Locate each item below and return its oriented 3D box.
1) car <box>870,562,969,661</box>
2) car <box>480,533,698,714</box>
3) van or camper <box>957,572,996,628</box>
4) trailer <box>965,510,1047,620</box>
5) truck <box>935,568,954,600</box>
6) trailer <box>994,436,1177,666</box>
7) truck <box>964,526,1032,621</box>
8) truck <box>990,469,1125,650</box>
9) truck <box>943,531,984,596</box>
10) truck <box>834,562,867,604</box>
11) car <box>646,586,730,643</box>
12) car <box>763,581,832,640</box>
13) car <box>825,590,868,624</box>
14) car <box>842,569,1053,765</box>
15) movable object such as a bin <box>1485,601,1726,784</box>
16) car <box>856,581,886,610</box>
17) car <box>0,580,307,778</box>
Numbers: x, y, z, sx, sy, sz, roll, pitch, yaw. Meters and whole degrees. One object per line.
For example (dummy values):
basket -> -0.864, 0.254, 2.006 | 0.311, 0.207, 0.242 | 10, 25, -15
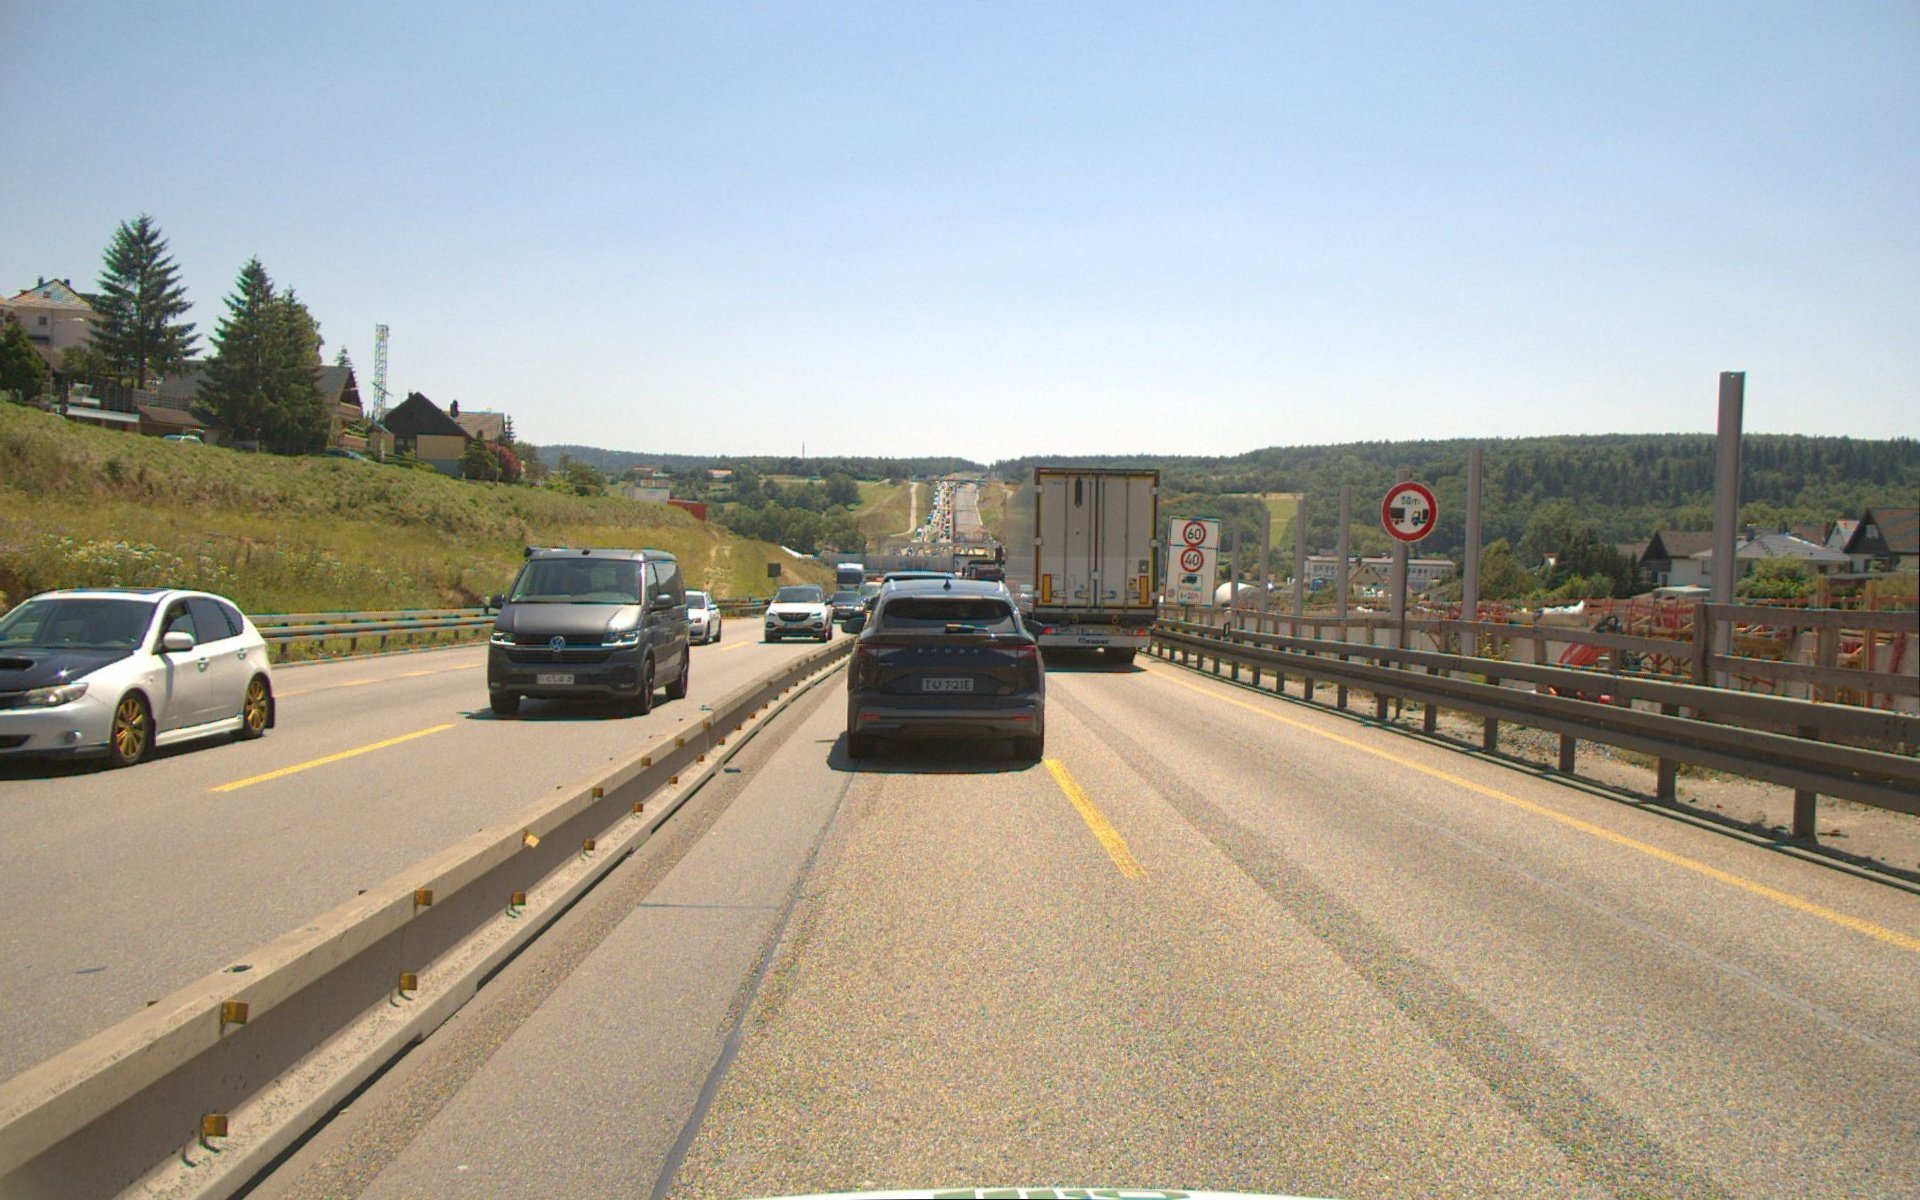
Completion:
car -> -0.866, 0.266, 35.221 | 1.953, 1.959, 4.506 | 1, -1, -1
car -> -4.611, 0.262, 21.297 | 1.872, 2.049, 4.904 | 1, 0, -2
van or camper -> 1.040, 0.049, 103.366 | 2.339, 3.338, 6.469 | 0, -1, 1
trailer -> 1.975, -1.388, 77.391 | 3.116, 4.592, 14.962 | 1, -1, -1
truck -> -2.171, -2.156, 230.592 | 2.586, 4.267, 9.281 | 1, -1, -1
trailer -> 2.671, -1.061, 39.934 | 3.116, 4.591, 13.106 | 1, 1, -1
truck -> 1.864, -1.232, 84.531 | 3.116, 4.592, 8.163 | 1, -1, -1
truck -> 2.561, -1.074, 46.382 | 3.116, 4.591, 8.164 | 1, 1, -1
truck -> 0.215, -2.735, 128.299 | 2.794, 4.543, 11.912 | 1, -1, -2
truck -> -9.913, -1.565, 150.845 | 2.723, 3.737, 6.275 | 1, 0, -2
car -> -7.571, 0.382, 46.407 | 1.767, 1.523, 4.598 | 0, 0, -2
car -> -4.749, 0.292, 48.782 | 1.770, 1.668, 4.170 | 0, 0, -2
car -> -5.250, 0.309, 76.817 | 1.761, 1.492, 4.354 | -1, 0, -1
car -> -0.119, 0.575, 15.985 | 1.765, 1.635, 3.999 | 1, 0, -1
movable object such as a bin -> 18.723, 2.531, 48.838 | 3.162, 4.826, 9.652 | 1, -1, -1
car -> -5.772, -0.303, 107.221 | 1.808, 1.809, 4.880 | 0, 0, -2
car -> -7.529, 0.569, 14.609 | 1.773, 1.456, 4.554 | 1, 0, -1
